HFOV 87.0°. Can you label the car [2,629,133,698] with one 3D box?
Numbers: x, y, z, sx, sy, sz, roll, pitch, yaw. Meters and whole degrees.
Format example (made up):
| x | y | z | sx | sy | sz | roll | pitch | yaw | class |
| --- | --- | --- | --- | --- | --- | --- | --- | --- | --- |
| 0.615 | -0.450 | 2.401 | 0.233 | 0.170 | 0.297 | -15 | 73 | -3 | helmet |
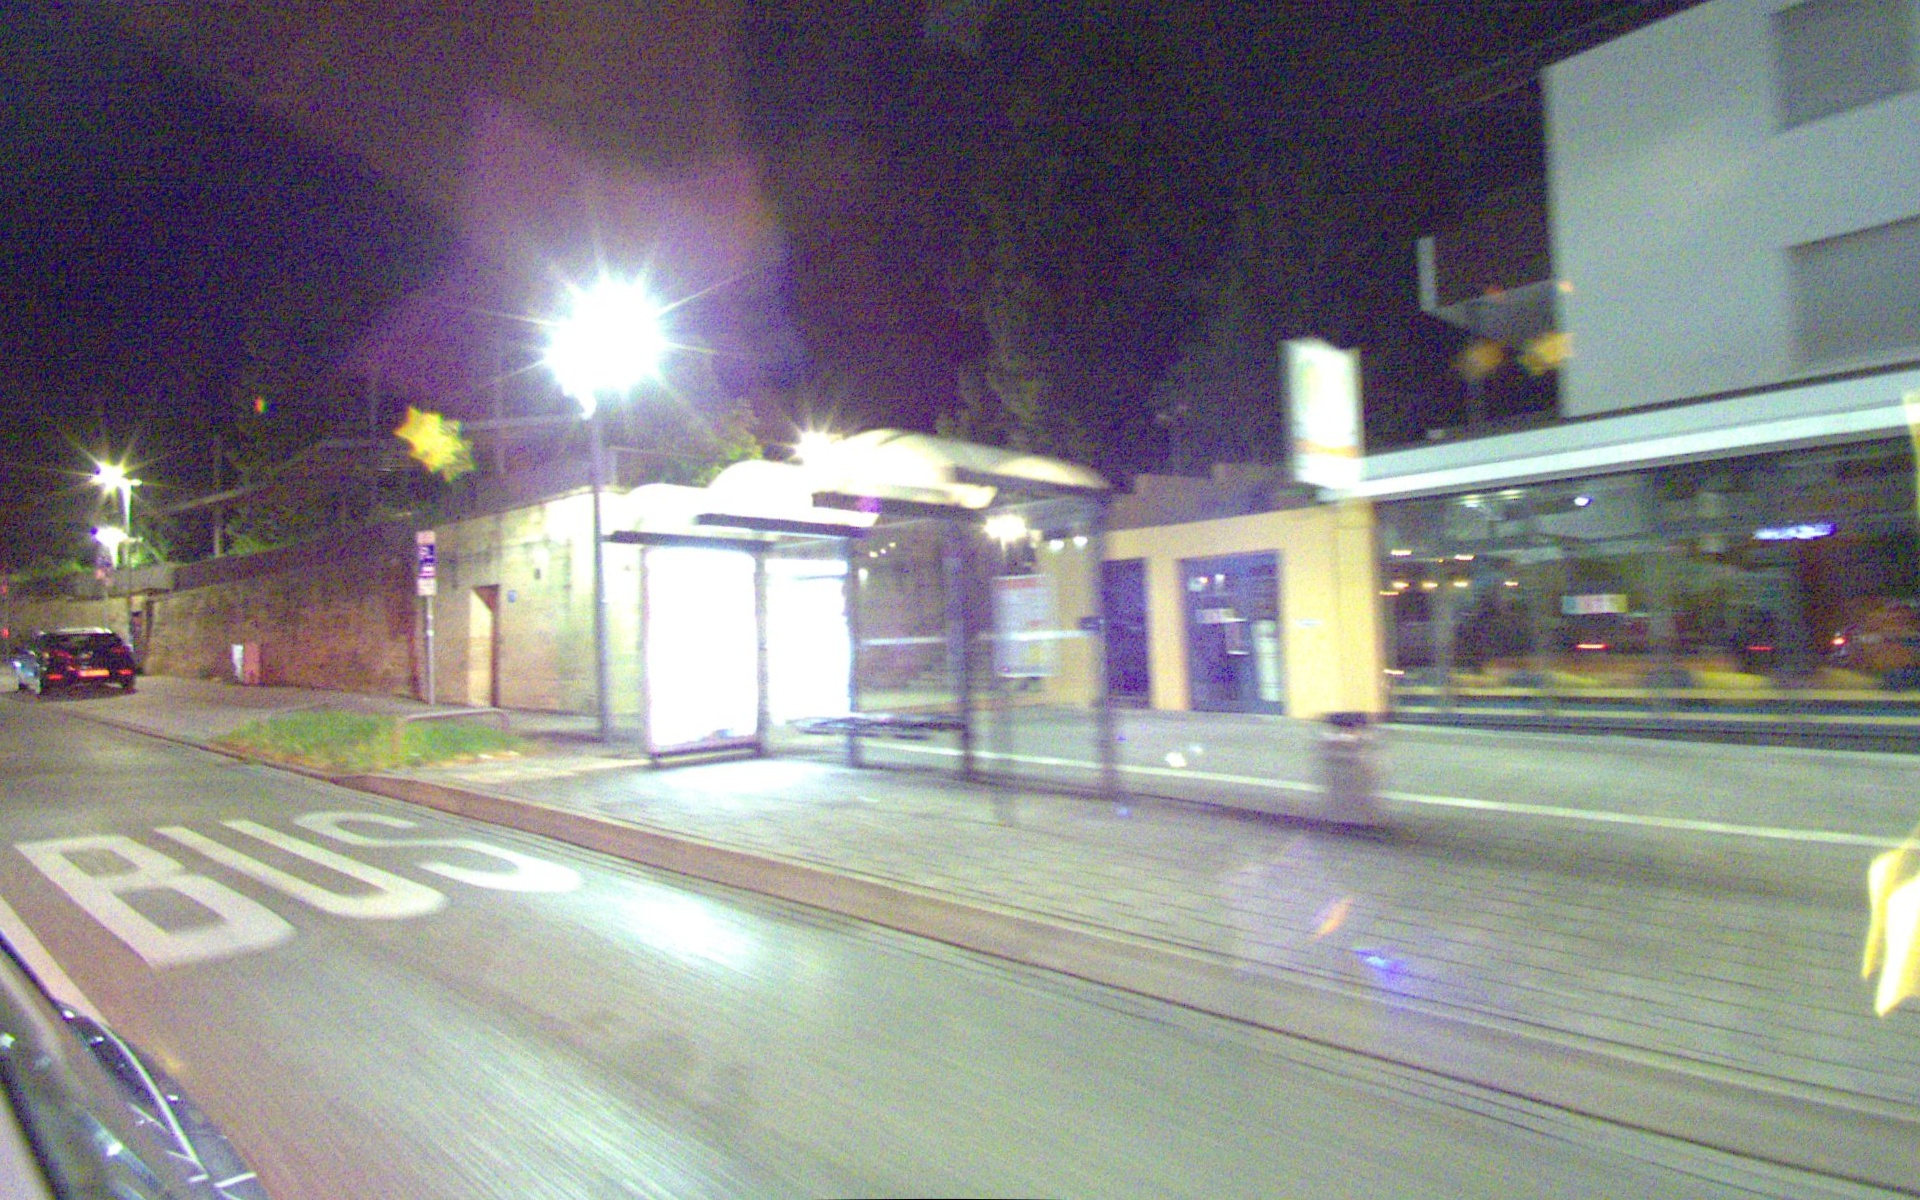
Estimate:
| x | y | z | sx | sy | sz | roll | pitch | yaw | class |
| --- | --- | --- | --- | --- | --- | --- | --- | --- | --- |
| -21.487 | 1.463 | 24.320 | 4.123 | 1.447 | 1.675 | -2 | 0 | 39 | car |
